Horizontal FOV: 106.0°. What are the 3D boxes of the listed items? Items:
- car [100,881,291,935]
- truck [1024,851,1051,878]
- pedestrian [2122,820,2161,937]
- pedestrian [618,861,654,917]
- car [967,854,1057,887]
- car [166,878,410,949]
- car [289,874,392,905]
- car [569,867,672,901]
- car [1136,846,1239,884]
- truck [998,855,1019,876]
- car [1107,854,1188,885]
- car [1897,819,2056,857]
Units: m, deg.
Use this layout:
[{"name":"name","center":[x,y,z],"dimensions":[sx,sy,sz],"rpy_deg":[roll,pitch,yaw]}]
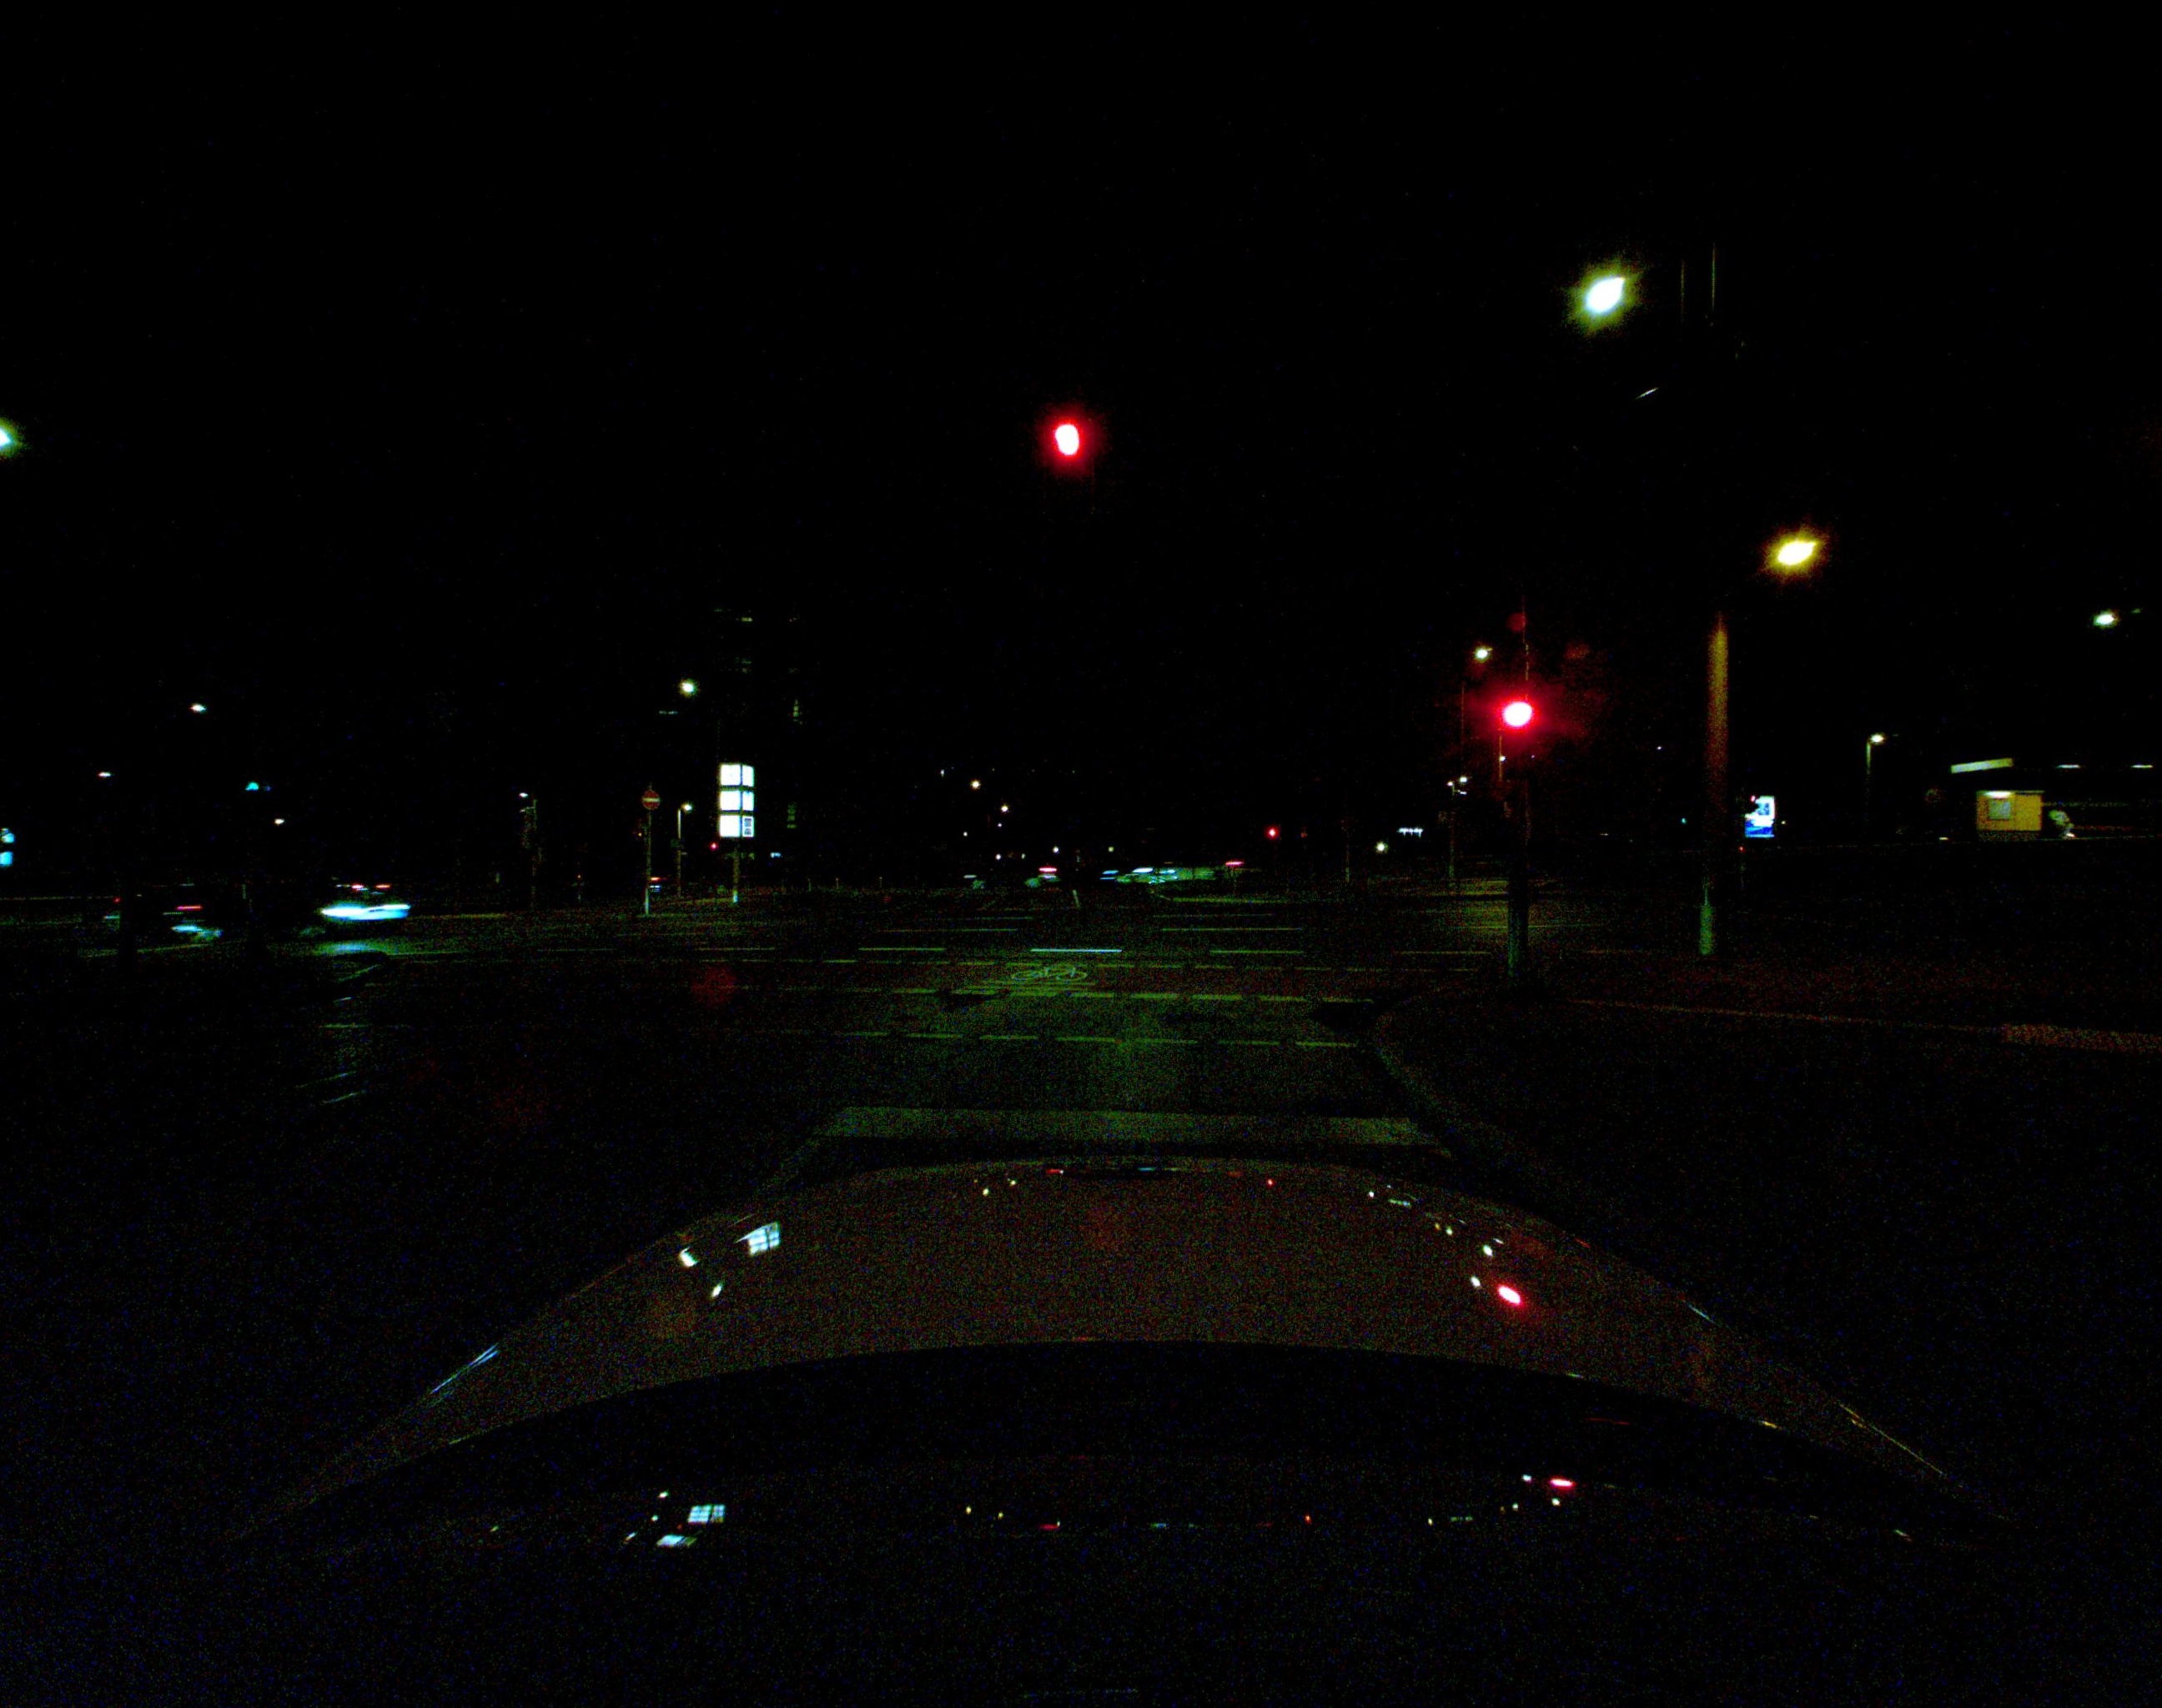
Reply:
[{"name":"car","center":[-26.379,1.601,24.320],"dimensions":[4.224,1.420,1.750],"rpy_deg":[-1,2,9]},{"name":"truck","center":[-7.997,1.940,149.253],"dimensions":[3.366,4.843,7.865],"rpy_deg":[0,-1,-14]},{"name":"pedestrian","center":[15.817,0.314,11.634],"dimensions":[0.870,1.656,0.843],"rpy_deg":[-7,-5,42]},{"name":"pedestrian","center":[-13.987,1.098,25.617],"dimensions":[0.670,1.722,0.710],"rpy_deg":[-1,-2,28]},{"name":"car","center":[-3.452,0.837,41.018],"dimensions":[4.212,1.585,1.806],"rpy_deg":[0,-1,6]},{"name":"car","center":[-19.854,1.468,20.505],"dimensions":[4.549,1.419,1.748],"rpy_deg":[-2,2,5]},{"name":"car","center":[-40.464,1.927,44.540],"dimensions":[4.041,1.424,1.846],"rpy_deg":[-1,1,5]},{"name":"car","center":[-22.291,1.425,39.486],"dimensions":[3.971,1.585,1.805],"rpy_deg":[-1,-1,2]},{"name":"car","center":[4.828,0.469,37.327],"dimensions":[4.551,1.585,1.848],"rpy_deg":[-1,1,3]},{"name":"truck","center":[-10.750,1.716,120.856],"dimensions":[2.419,3.089,6.412],"rpy_deg":[0,-1,-11]},{"name":"car","center":[3.514,0.847,43.348],"dimensions":[4.215,1.585,1.889],"rpy_deg":[0,-1,4]},{"name":"car","center":[37.829,-0.658,34.496],"dimensions":[4.406,1.420,1.854],"rpy_deg":[-2,-1,5]}]
